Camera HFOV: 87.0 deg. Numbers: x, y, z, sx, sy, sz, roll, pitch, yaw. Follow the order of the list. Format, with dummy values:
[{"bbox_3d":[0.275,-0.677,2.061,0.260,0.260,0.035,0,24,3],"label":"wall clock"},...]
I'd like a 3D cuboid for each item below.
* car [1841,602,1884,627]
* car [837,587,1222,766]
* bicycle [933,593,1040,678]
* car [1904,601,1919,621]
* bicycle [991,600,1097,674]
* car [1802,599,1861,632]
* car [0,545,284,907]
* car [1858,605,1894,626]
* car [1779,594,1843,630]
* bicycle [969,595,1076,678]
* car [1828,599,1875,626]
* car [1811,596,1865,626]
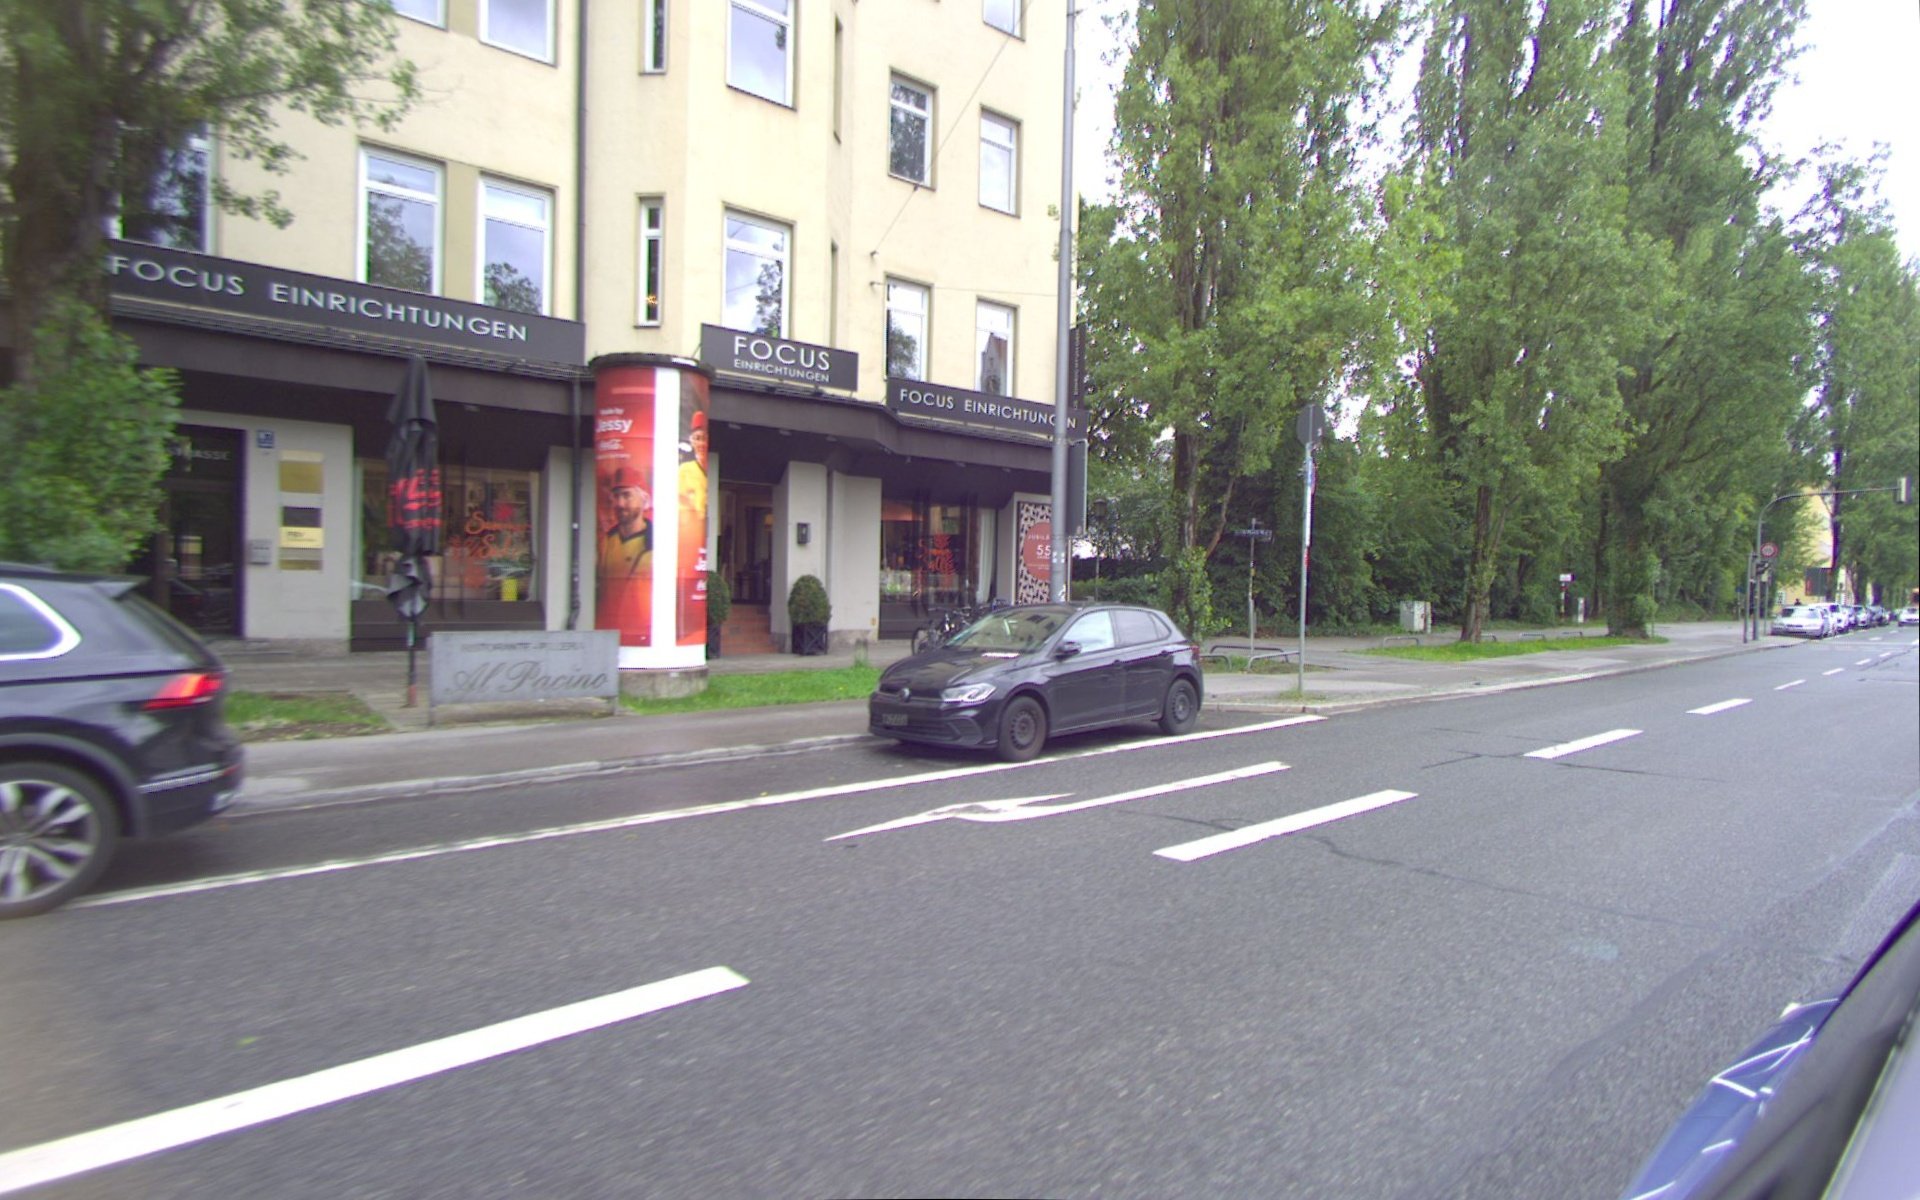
[{"bbox_3d":[58.214,0.919,65.270,4.071,1.504,1.782,0,1,-44],"label":"car"},{"bbox_3d":[0.847,0.631,10.485,3.933,1.484,1.801,0,1,-43],"label":"car"},{"bbox_3d":[0.385,0.518,15.644,0.488,1.200,1.886,1,1,-42],"label":"bicycle"},{"bbox_3d":[75.067,0.856,79.000,4.071,1.504,1.782,0,1,-44],"label":"car"},{"bbox_3d":[1.329,0.567,16.397,0.488,1.095,1.886,1,1,-42],"label":"bicycle"},{"bbox_3d":[42.713,0.710,49.587,4.188,1.504,1.783,0,1,-44],"label":"car"},{"bbox_3d":[-5.732,0.546,4.490,4.391,1.632,1.725,0,1,-40],"label":"car"},{"bbox_3d":[69.908,1.134,77.249,4.071,1.504,1.782,0,1,-44],"label":"car"},{"bbox_3d":[38.209,0.507,45.406,4.280,1.504,1.782,0,1,-44],"label":"car"},{"bbox_3d":[0.964,0.543,16.025,0.488,1.200,1.886,1,1,-42],"label":"bicycle"},{"bbox_3d":[53.392,0.718,60.573,4.071,1.504,1.782,0,1,-44],"label":"car"},{"bbox_3d":[45.850,0.552,52.830,4.071,1.504,1.782,0,1,-44],"label":"car"}]
